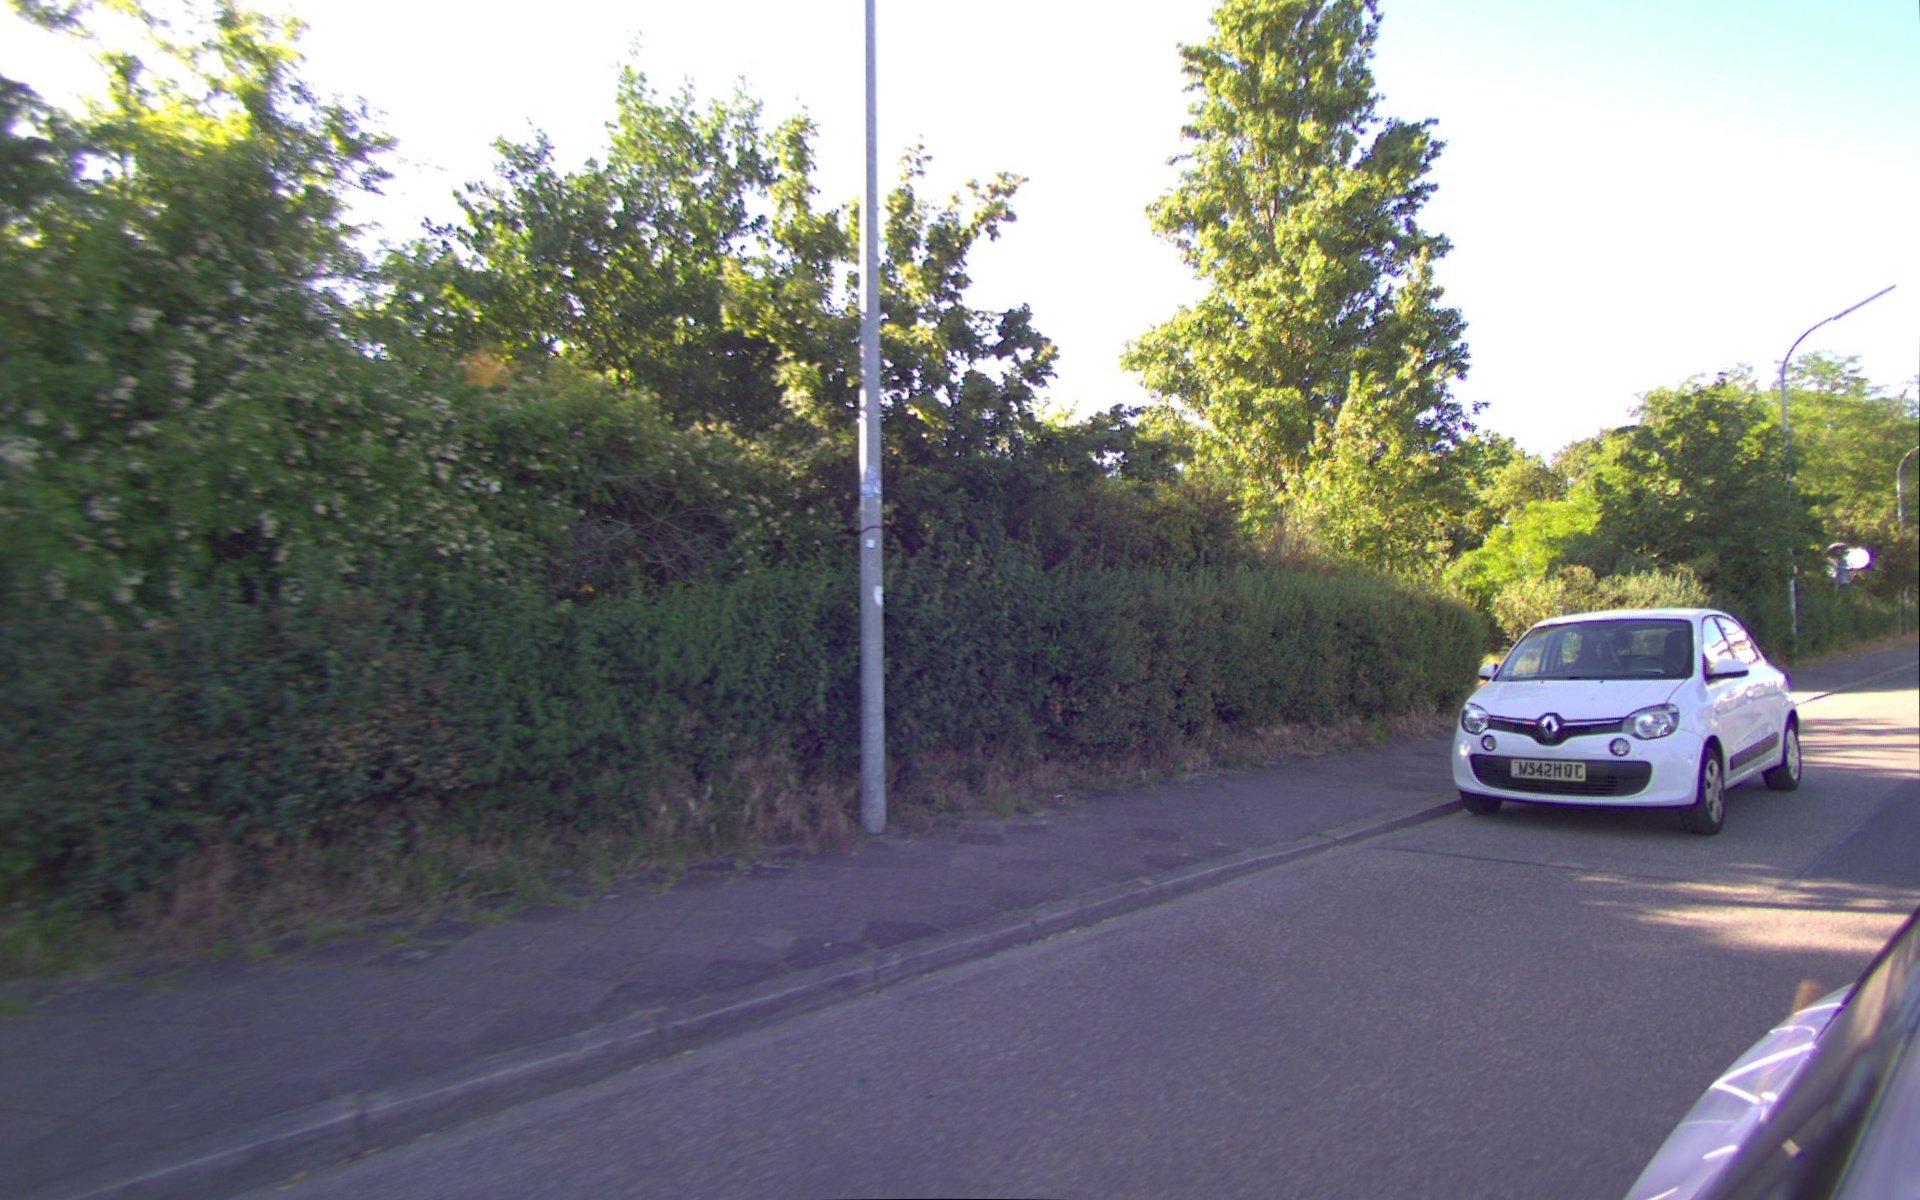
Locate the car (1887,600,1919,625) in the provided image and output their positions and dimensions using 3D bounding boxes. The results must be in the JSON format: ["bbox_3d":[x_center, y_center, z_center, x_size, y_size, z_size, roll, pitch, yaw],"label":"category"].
[{"bbox_3d":[68.289,0.892,71.424,1.745,1.717,4.152,1,-1,-43],"label":"car"}]

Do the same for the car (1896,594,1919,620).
[{"bbox_3d":[77.185,0.573,80.162,1.988,2.042,4.454,1,0,-44],"label":"car"}]

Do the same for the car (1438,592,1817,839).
[{"bbox_3d":[5.453,0.762,8.126,3.493,1.558,1.558,0,-3,-40],"label":"car"}]
